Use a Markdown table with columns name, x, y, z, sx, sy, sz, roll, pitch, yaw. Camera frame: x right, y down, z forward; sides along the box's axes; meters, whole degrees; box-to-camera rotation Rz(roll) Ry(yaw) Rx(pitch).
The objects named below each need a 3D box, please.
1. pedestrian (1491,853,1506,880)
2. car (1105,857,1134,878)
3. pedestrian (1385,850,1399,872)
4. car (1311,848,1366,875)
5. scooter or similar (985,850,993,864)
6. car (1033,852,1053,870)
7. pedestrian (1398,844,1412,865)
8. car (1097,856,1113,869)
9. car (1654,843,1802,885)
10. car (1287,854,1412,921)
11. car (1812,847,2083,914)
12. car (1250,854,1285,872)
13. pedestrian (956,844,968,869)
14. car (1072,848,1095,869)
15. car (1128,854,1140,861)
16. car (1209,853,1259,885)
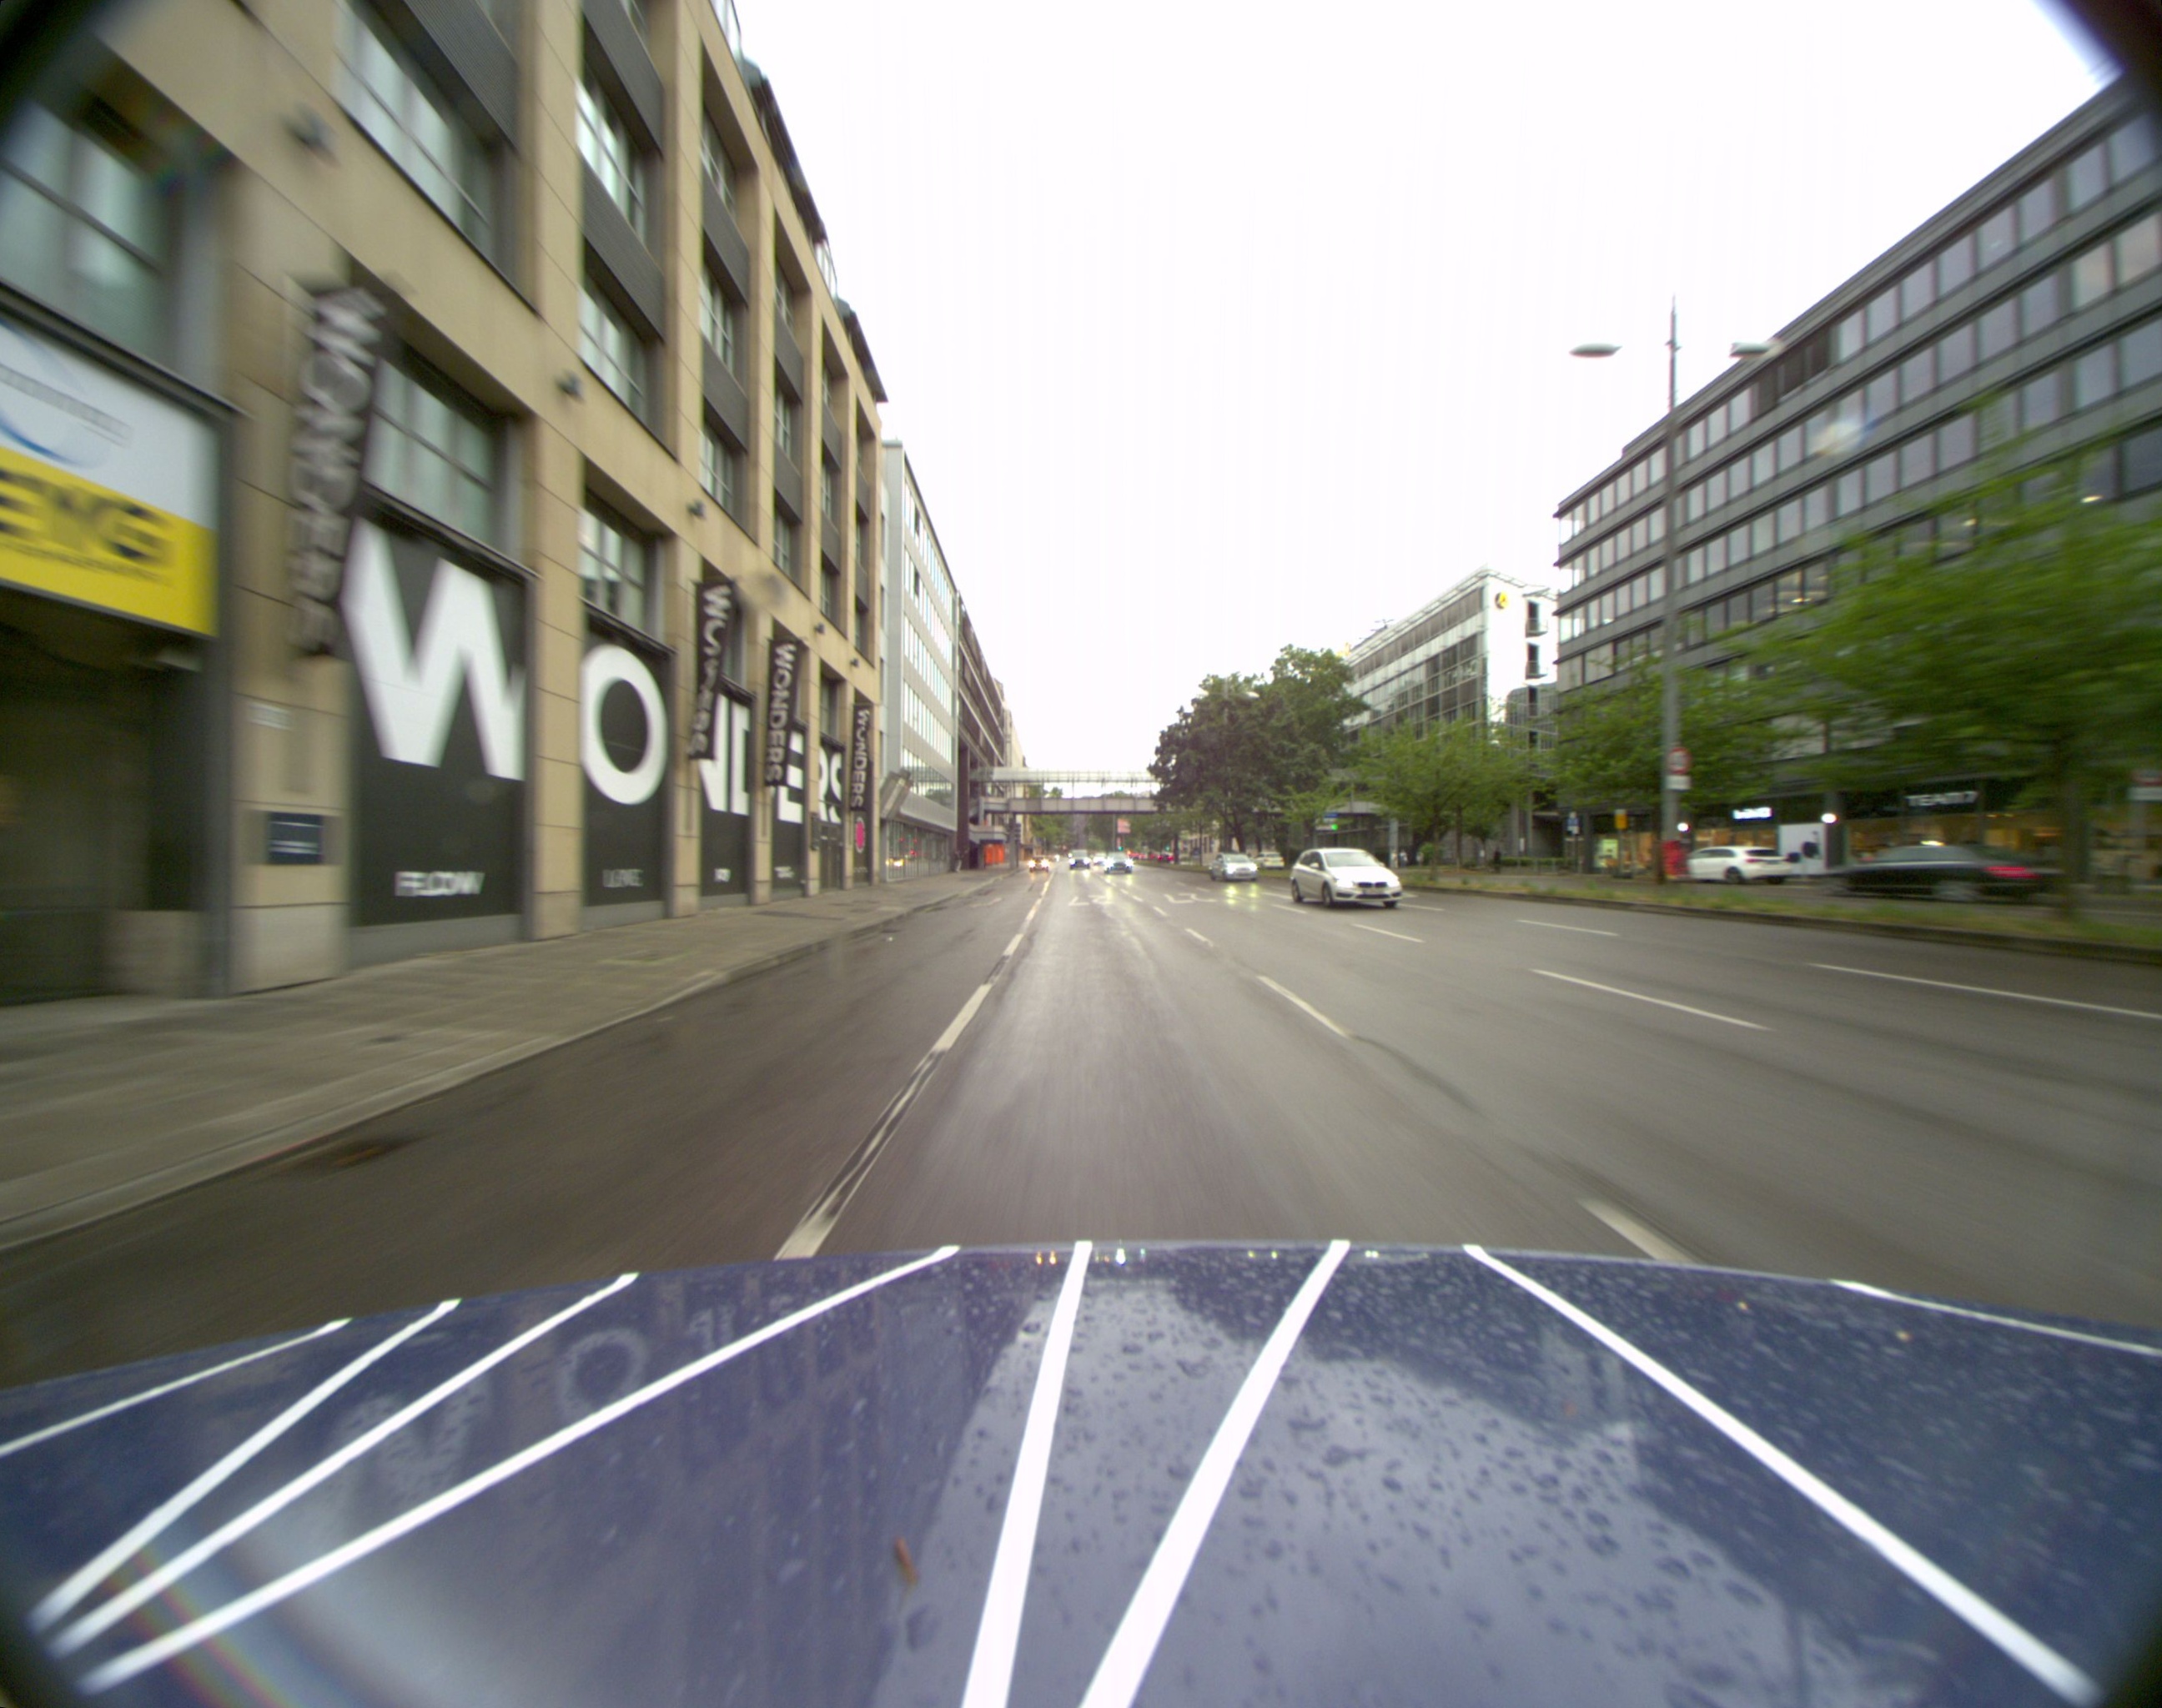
| name | x | y | z | sx | sy | sz | roll | pitch | yaw |
| --- | --- | --- | --- | --- | --- | --- | --- | --- | --- |
| pedestrian | 29.179 | 0.863 | 53.108 | 0.727 | 1.807 | 0.766 | 2 | 3 | 38 |
| car | 2.841 | 0.958 | 56.444 | 1.941 | 1.426 | 4.287 | -1 | 1 | 0 |
| pedestrian | 26.824 | 0.601 | 65.525 | 0.729 | 1.788 | 0.924 | -2 | 1 | -1 |
| car | 16.960 | 0.443 | 50.237 | 1.814 | 1.508 | 4.714 | -1 | 2 | -3 |
| scooter or similar | -8.277 | 0.239 | 68.450 | 0.472 | 1.266 | 1.305 | -1 | 1 | -18 |
| car | -3.339 | 0.576 | 66.792 | 1.667 | 1.464 | 3.482 | -1 | 1 | -2 |
| pedestrian | 27.880 | 0.031 | 65.390 | 0.729 | 1.822 | 0.924 | -2 | 1 | -1 |
| car | 2.868 | 1.003 | 91.963 | 1.853 | 1.434 | 3.870 | -1 | 1 | 1 |
| car | 24.616 | 0.333 | 29.132 | 1.814 | 1.436 | 4.308 | -2 | 1 | -4 |
| car | 7.109 | 0.823 | 20.608 | 1.788 | 1.564 | 4.286 | -1 | 1 | -1 |
| car | 21.484 | 0.581 | 19.164 | 1.814 | 1.467 | 4.299 | -1 | 1 | -3 |
| car | 15.967 | 0.735 | 65.226 | 1.732 | 1.426 | 4.311 | -1 | 1 | -3 |
| pedestrian | -8.626 | 0.190 | 55.100 | 0.729 | 1.822 | 0.764 | -1 | 2 | -1 |
| car | 0.213 | 0.401 | 75.075 | 2.163 | 2.014 | 5.040 | -1 | 1 | -1 |
| car | 10.027 | 0.742 | 144.876 | 1.732 | 1.303 | 4.075 | -1 | 0 | -4 |
| car | 8.006 | 0.731 | 40.118 | 1.788 | 1.564 | 3.690 | -1 | 1 | -1 |
